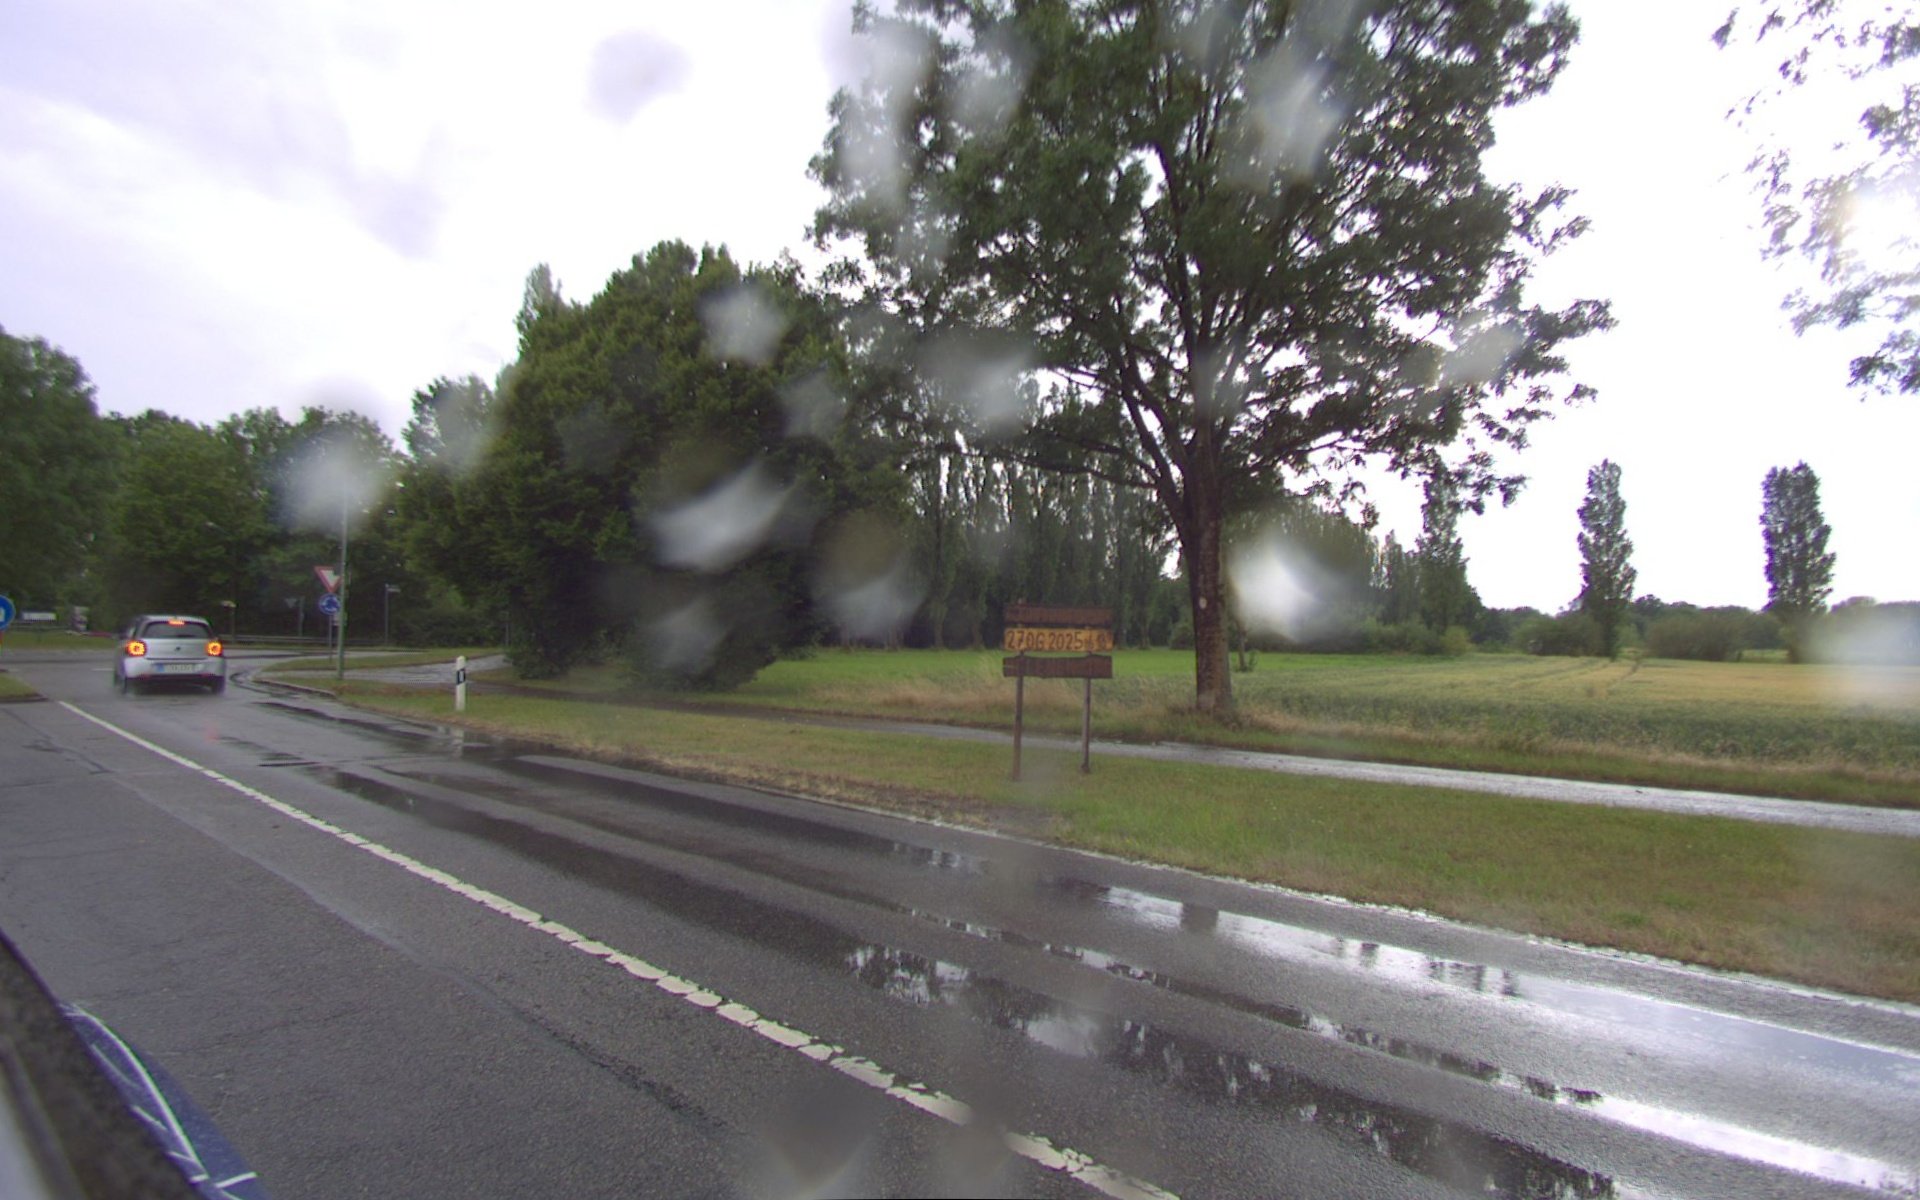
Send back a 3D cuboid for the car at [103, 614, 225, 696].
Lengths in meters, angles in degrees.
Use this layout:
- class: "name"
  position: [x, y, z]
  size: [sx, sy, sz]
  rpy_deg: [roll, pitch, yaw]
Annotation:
- class: "car"
  position: [-16.428, 1.117, 20.819]
  size: [1.655, 1.510, 3.739]
  rpy_deg: [5, -5, -42]
